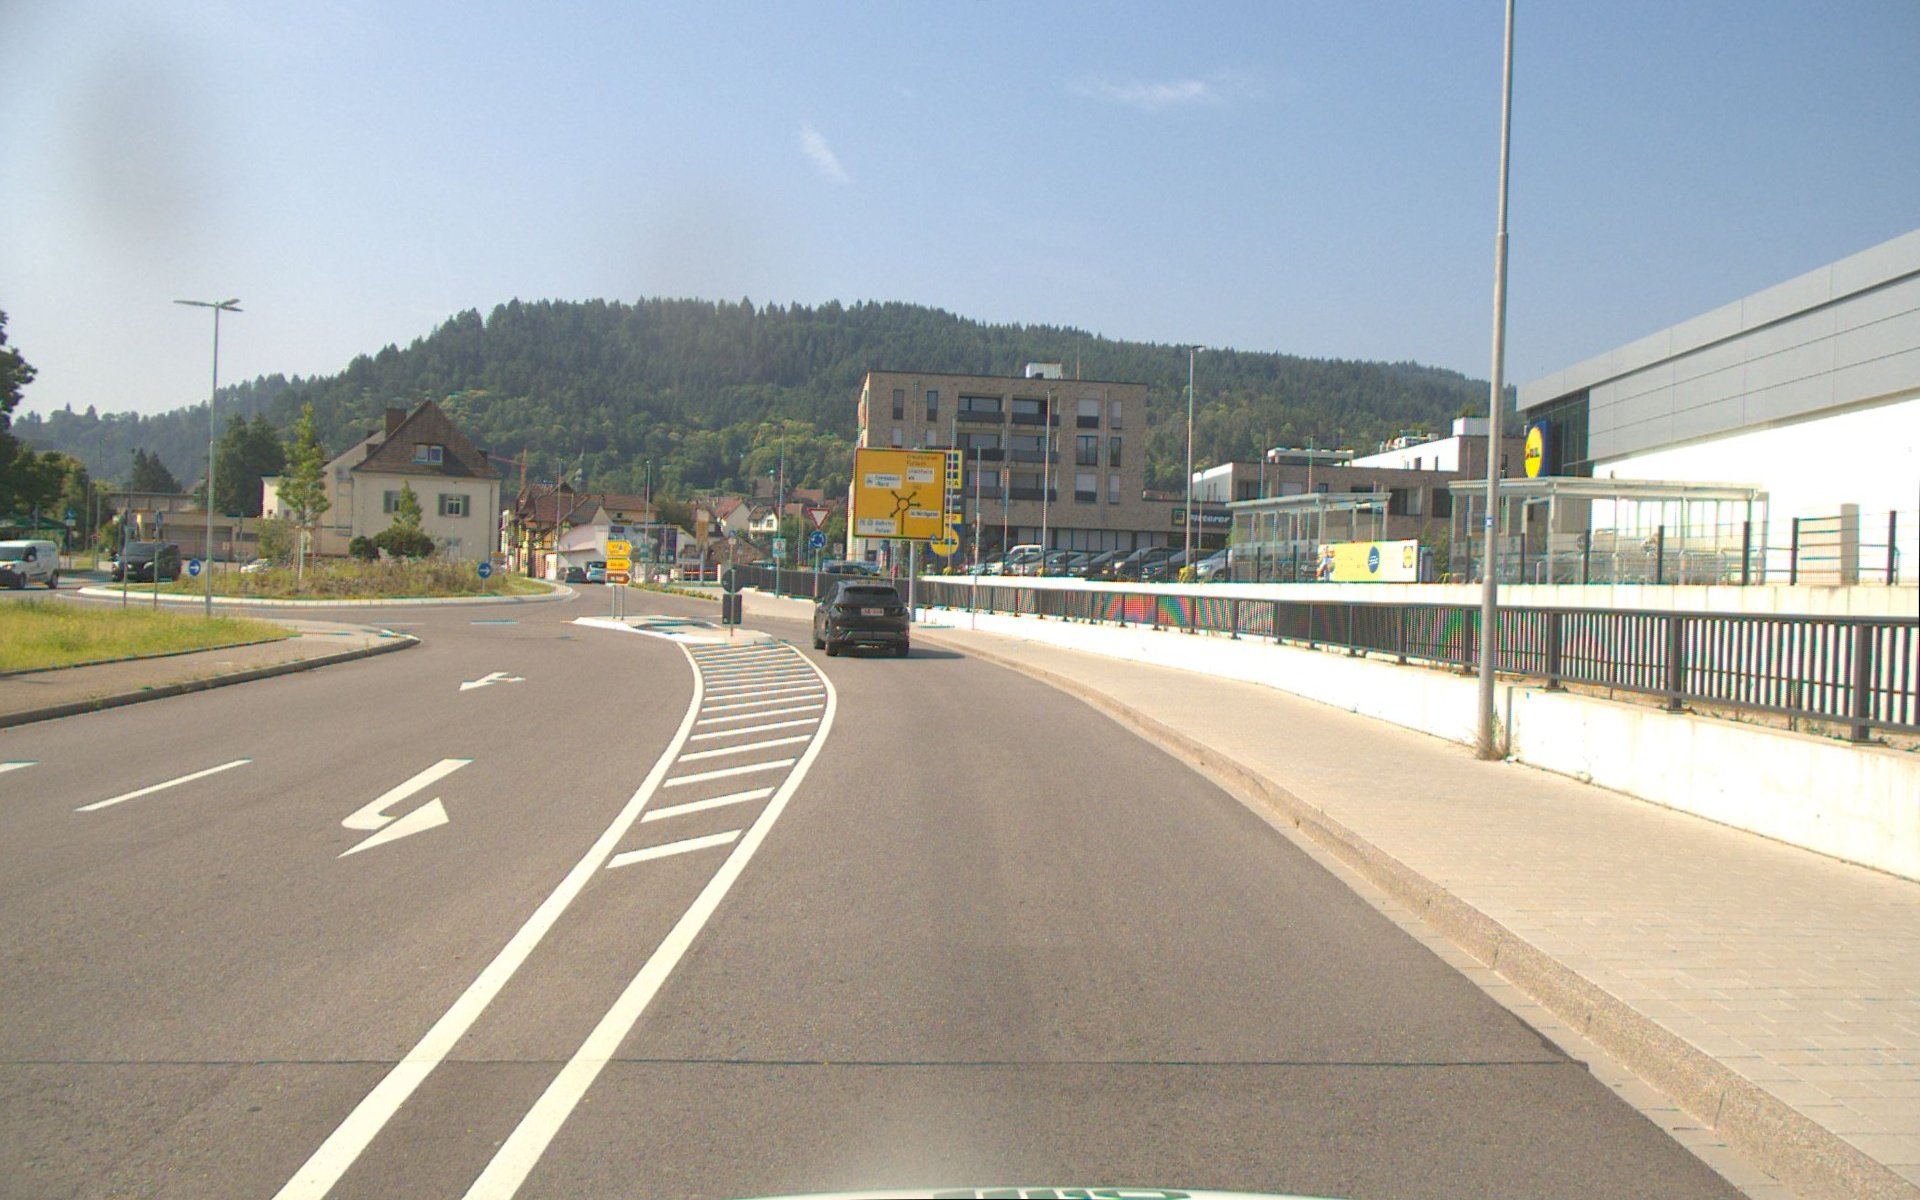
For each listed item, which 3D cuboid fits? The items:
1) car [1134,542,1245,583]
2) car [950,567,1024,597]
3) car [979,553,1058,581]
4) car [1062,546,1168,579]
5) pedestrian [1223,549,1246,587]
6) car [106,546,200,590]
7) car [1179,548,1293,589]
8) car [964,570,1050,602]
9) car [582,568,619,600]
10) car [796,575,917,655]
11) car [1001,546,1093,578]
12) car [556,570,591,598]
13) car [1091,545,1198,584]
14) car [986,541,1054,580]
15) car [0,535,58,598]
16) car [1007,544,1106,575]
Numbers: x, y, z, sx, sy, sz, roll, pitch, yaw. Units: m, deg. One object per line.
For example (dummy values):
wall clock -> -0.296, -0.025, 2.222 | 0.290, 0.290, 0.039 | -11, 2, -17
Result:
car -> 8.782, -1.443, 63.291 | 4.001, 1.428, 1.477 | 1, 1, -20
car -> 1.407, -0.936, 86.356 | 3.502, 1.455, 1.701 | 1, 1, -20
car -> 2.862, -1.615, 81.007 | 3.502, 1.220, 1.705 | 1, 1, -20
car -> 6.557, -1.592, 70.127 | 4.151, 1.267, 1.734 | 1, 1, -20
pedestrian -> 9.746, -1.118, 58.743 | 0.538, 1.335, 0.653 | 1, 0, -17
car -> -38.090, -1.502, 78.173 | 1.801, 1.980, 4.884 | 1, 0, 3
car -> 10.044, -1.146, 60.195 | 3.749, 1.388, 1.671 | 1, 1, -20
car -> 2.386, -0.718, 83.624 | 3.992, 1.513, 1.709 | 1, 1, -17
car -> -23.687, -1.033, 109.098 | 1.956, 2.049, 3.994 | 1, 0, -7
car -> -2.423, 0.318, 37.831 | 1.851, 1.713, 3.981 | 1, 0, -17
car -> 4.065, -1.795, 77.493 | 3.976, 1.366, 1.651 | 1, 1, -20
car -> -28.975, -1.166, 123.970 | 1.966, 2.049, 3.973 | 1, 0, -22
car -> 7.456, -1.431, 66.890 | 3.946, 1.428, 1.715 | 1, 1, -20
car -> 3.530, -2.286, 96.758 | 3.904, 2.173, 2.000 | 1, 0, 2
car -> -36.337, -1.330, 63.647 | 1.776, 2.113, 4.587 | 2, 4, -15
car -> 4.403, -1.863, 75.491 | 4.215, 1.267, 1.655 | 1, 1, -20
